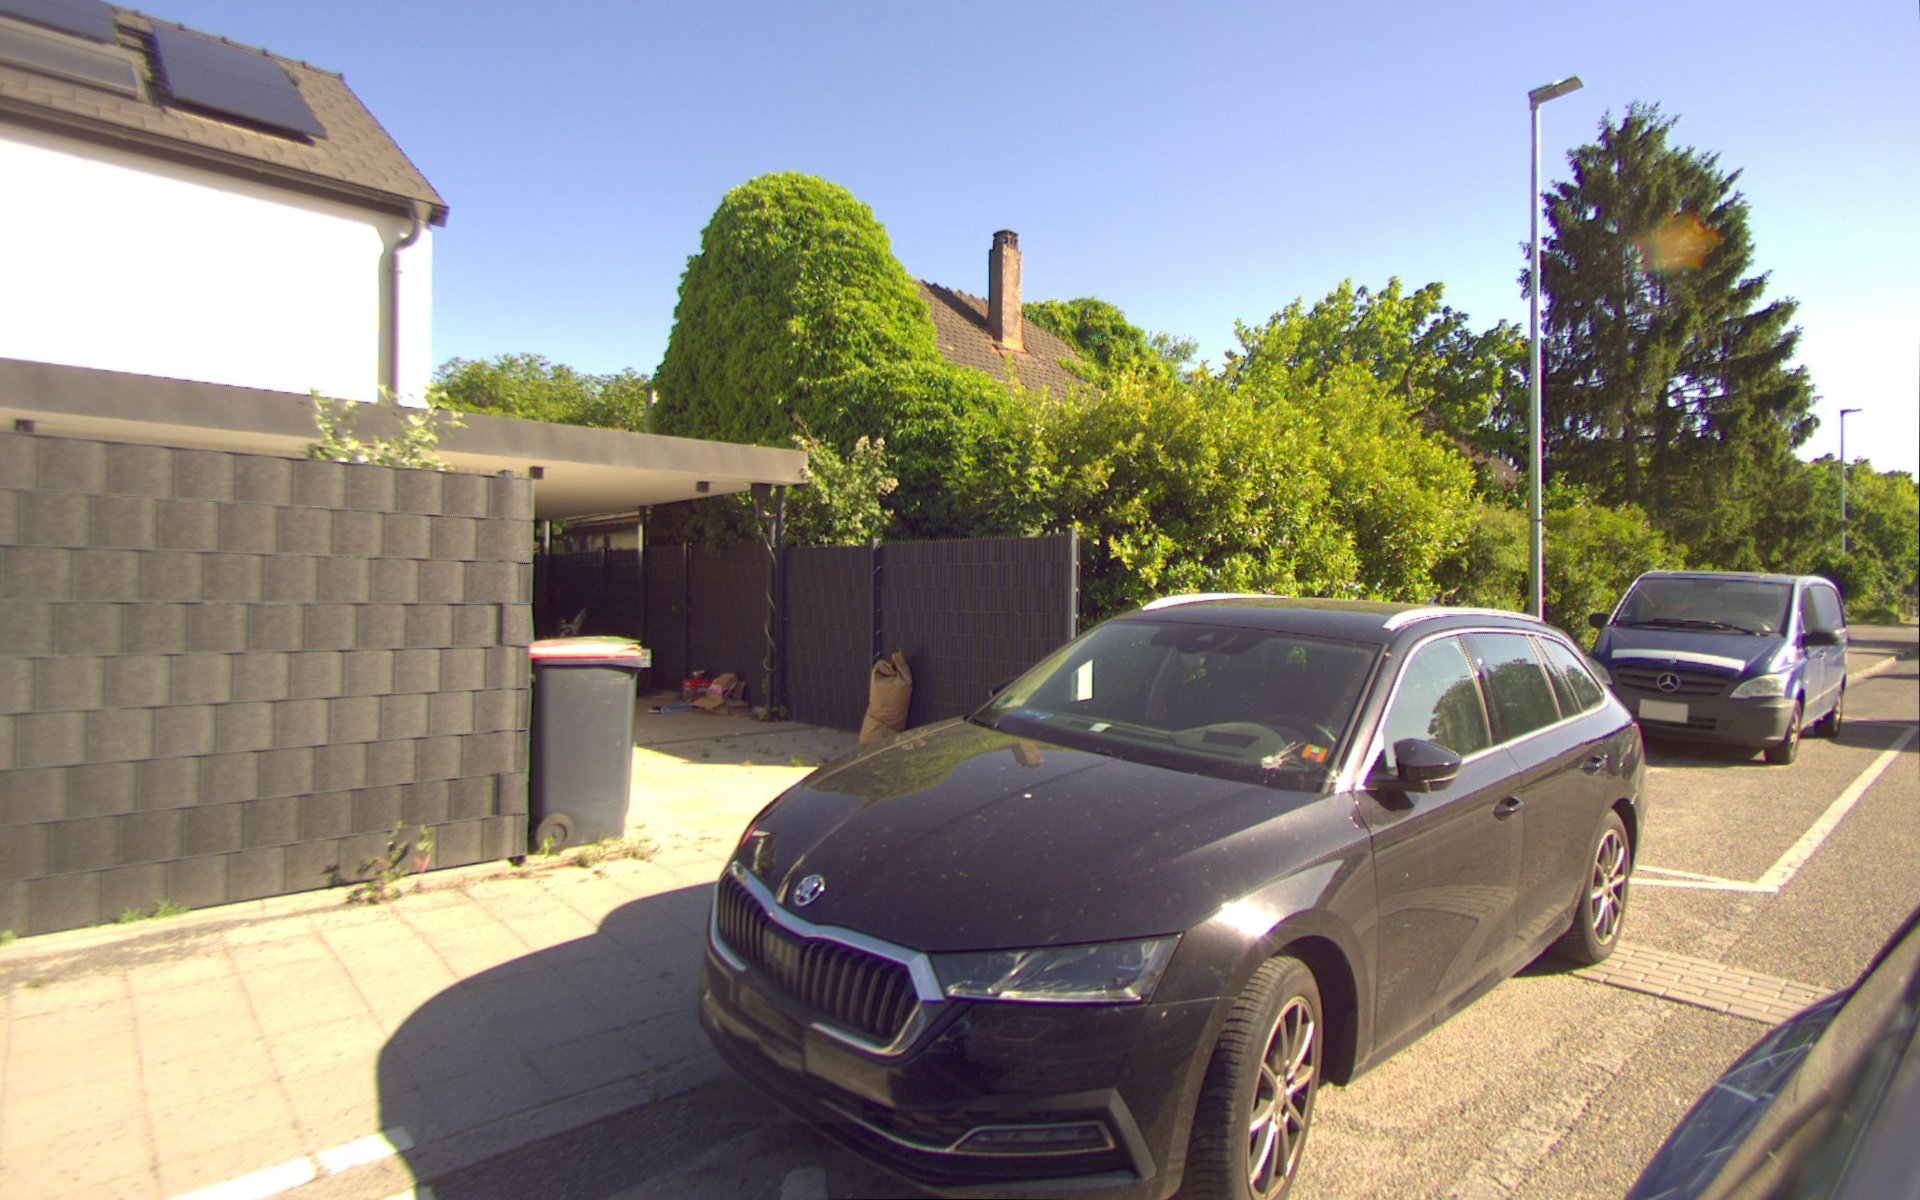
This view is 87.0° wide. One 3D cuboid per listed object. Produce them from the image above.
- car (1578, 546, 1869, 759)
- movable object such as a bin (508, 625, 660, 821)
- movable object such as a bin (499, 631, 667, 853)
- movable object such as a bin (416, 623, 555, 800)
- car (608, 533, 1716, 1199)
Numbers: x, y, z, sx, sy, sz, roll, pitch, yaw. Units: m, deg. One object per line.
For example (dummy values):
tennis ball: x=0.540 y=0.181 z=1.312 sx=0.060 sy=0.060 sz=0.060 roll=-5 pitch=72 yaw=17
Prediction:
car: x=8.743 y=0.470 z=11.423 sx=4.618 sy=1.932 sz=1.839 roll=0 pitch=0 yaw=-43
movable object such as a bin: x=-2.301 y=0.709 z=6.196 sx=0.692 sy=1.052 sz=0.595 roll=-2 pitch=3 yaw=-41
movable object such as a bin: x=-2.066 y=0.731 z=5.551 sx=0.692 sy=1.052 sz=0.595 roll=-2 pitch=3 yaw=-41
movable object such as a bin: x=-3.181 y=0.708 z=6.789 sx=0.692 sy=1.052 sz=0.595 roll=-2 pitch=3 yaw=-41
car: x=1.354 y=0.621 z=4.031 sx=4.906 sy=1.498 sz=1.768 roll=1 pitch=1 yaw=-43
